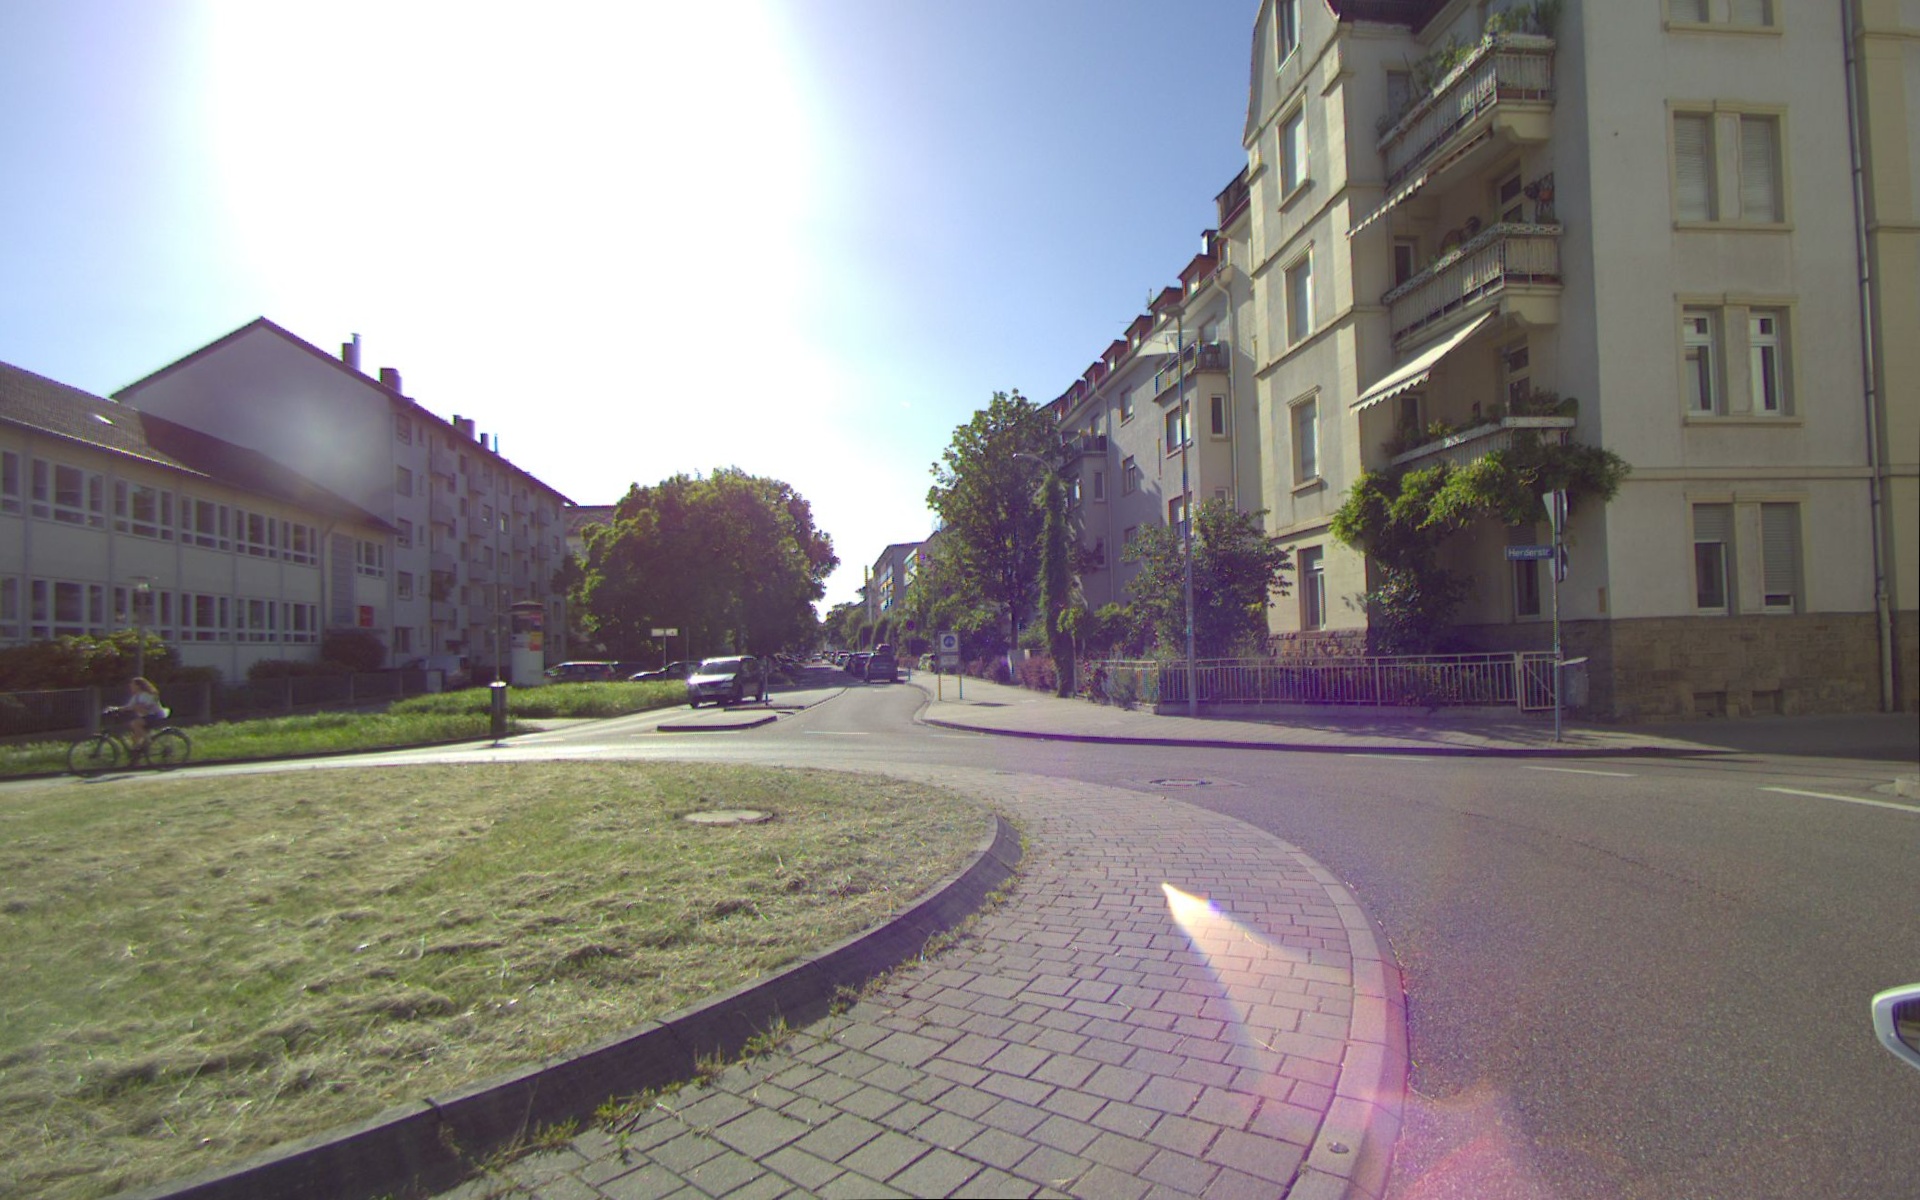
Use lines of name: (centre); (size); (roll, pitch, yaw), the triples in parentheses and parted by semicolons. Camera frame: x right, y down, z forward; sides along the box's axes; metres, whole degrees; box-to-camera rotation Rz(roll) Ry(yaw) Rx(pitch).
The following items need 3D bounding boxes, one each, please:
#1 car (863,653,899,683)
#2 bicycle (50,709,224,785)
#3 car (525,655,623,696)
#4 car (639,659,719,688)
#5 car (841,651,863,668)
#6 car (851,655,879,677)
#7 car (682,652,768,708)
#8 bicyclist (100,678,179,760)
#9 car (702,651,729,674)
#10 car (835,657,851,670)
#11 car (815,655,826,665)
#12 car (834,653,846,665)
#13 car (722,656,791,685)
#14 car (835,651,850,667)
car: (-4.442, 3.760, 56.168); (1.817, 1.559, 3.997); (-1, -3, -7)
bicycle: (-14.248, 2.514, 17.467); (0.796, 1.028, 2.208); (-2, -2, 27)
car: (-18.532, 3.626, 48.348); (3.921, 1.795, 2.000); (-2, -3, -1)
car: (-15.880, 4.163, 56.884); (3.921, 1.483, 2.000); (-2, -3, -1)
car: (-9.311, 5.128, 86.414); (1.817, 1.398, 3.997); (-1, -3, -7)
car: (-6.564, 4.545, 69.123); (1.817, 1.398, 3.997); (-1, -3, -7)
car: (-8.240, 2.789, 35.621); (1.843, 1.718, 4.275); (-3, -2, 2)
bicyclist: (-14.257, 2.052, 17.464); (0.796, 1.329, 0.824); (-2, -2, 27)
car: (-17.481, 4.462, 71.921); (1.819, 1.542, 3.991); (-1, -3, -13)
car: (-14.034, 7.582, 120.351); (1.817, 1.398, 3.997); (-1, -3, -7)
car: (-23.891, 10.240, 172.116); (1.817, 1.694, 3.997); (-1, -3, -7)
car: (-18.230, 8.951, 152.641); (1.817, 1.694, 3.997); (-1, -3, -7)
car: (-12.081, 4.175, 59.724); (3.931, 1.505, 1.847); (-1, -3, -13)
car: (-15.451, 7.728, 131.828); (1.817, 1.929, 3.997); (-1, -3, -7)
